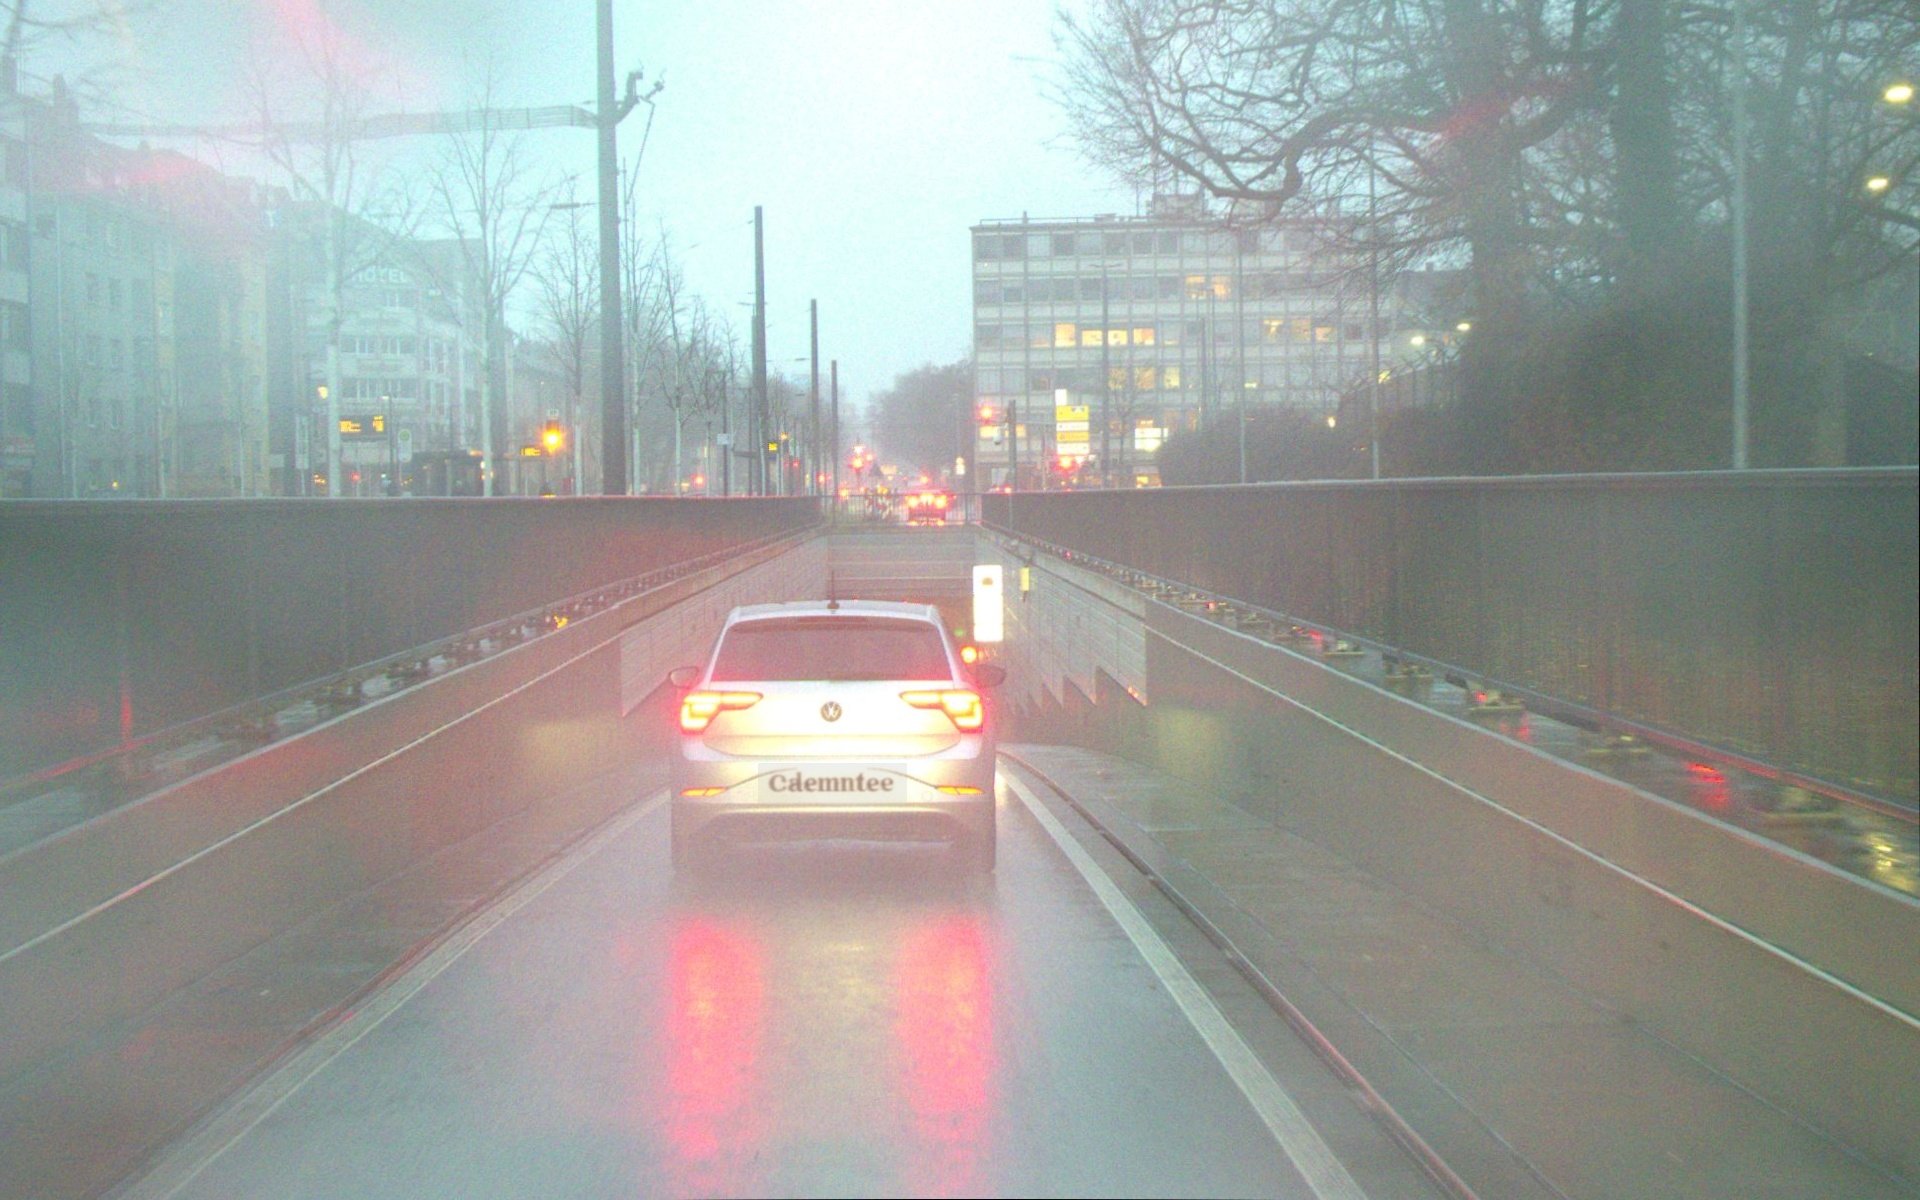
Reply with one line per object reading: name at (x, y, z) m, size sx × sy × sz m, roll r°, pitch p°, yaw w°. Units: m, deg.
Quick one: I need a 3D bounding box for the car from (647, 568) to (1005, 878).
car at (-0.639, 0.591, 19.012) m, size 1.722 × 1.474 × 4.000 m, roll 1°, pitch 1°, yaw 1°

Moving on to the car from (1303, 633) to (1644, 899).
car at (3.354, 1.041, 23.118) m, size 1.722 × 1.474 × 4.000 m, roll 1°, pitch 1°, yaw 1°
